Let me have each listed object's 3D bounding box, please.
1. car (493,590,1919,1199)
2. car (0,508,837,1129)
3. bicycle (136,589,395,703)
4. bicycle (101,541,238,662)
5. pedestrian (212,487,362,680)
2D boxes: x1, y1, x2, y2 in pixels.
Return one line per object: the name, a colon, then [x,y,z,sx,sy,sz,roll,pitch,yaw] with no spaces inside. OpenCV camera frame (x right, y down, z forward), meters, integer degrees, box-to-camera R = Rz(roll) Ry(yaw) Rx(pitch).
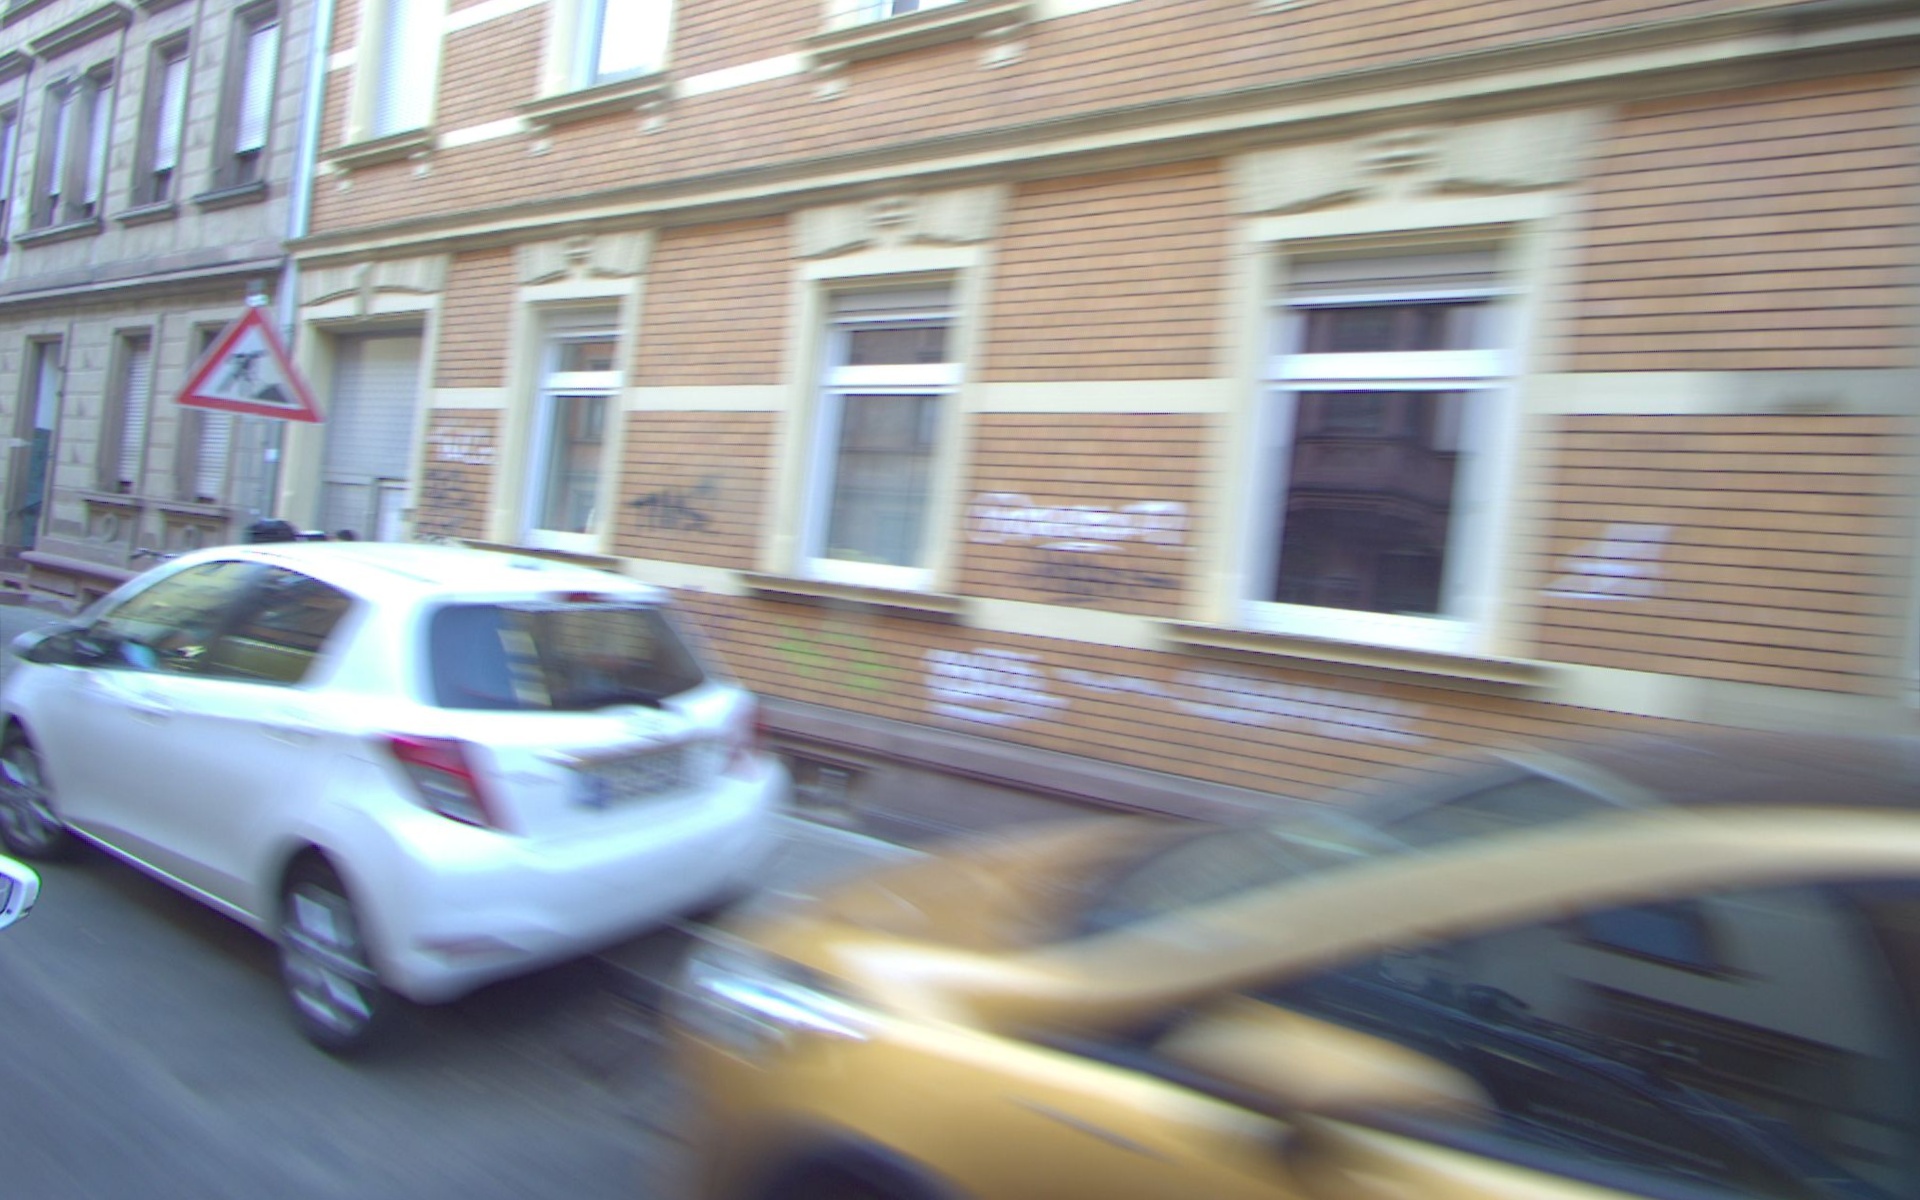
car: [1.311,0.929,1.684,3.999,1.465,1.755,6,2,29]
car: [-2.719,0.508,4.443,4.013,1.501,1.721,7,3,30]
bicycle: [-6.260,0.413,9.155,1.796,0.826,0.595,6,1,-11]
bicycle: [-8.215,0.003,10.436,1.541,1.080,0.517,7,2,30]
pedestrian: [-6.247,-0.143,9.387,0.866,1.651,0.654,5,1,-11]
